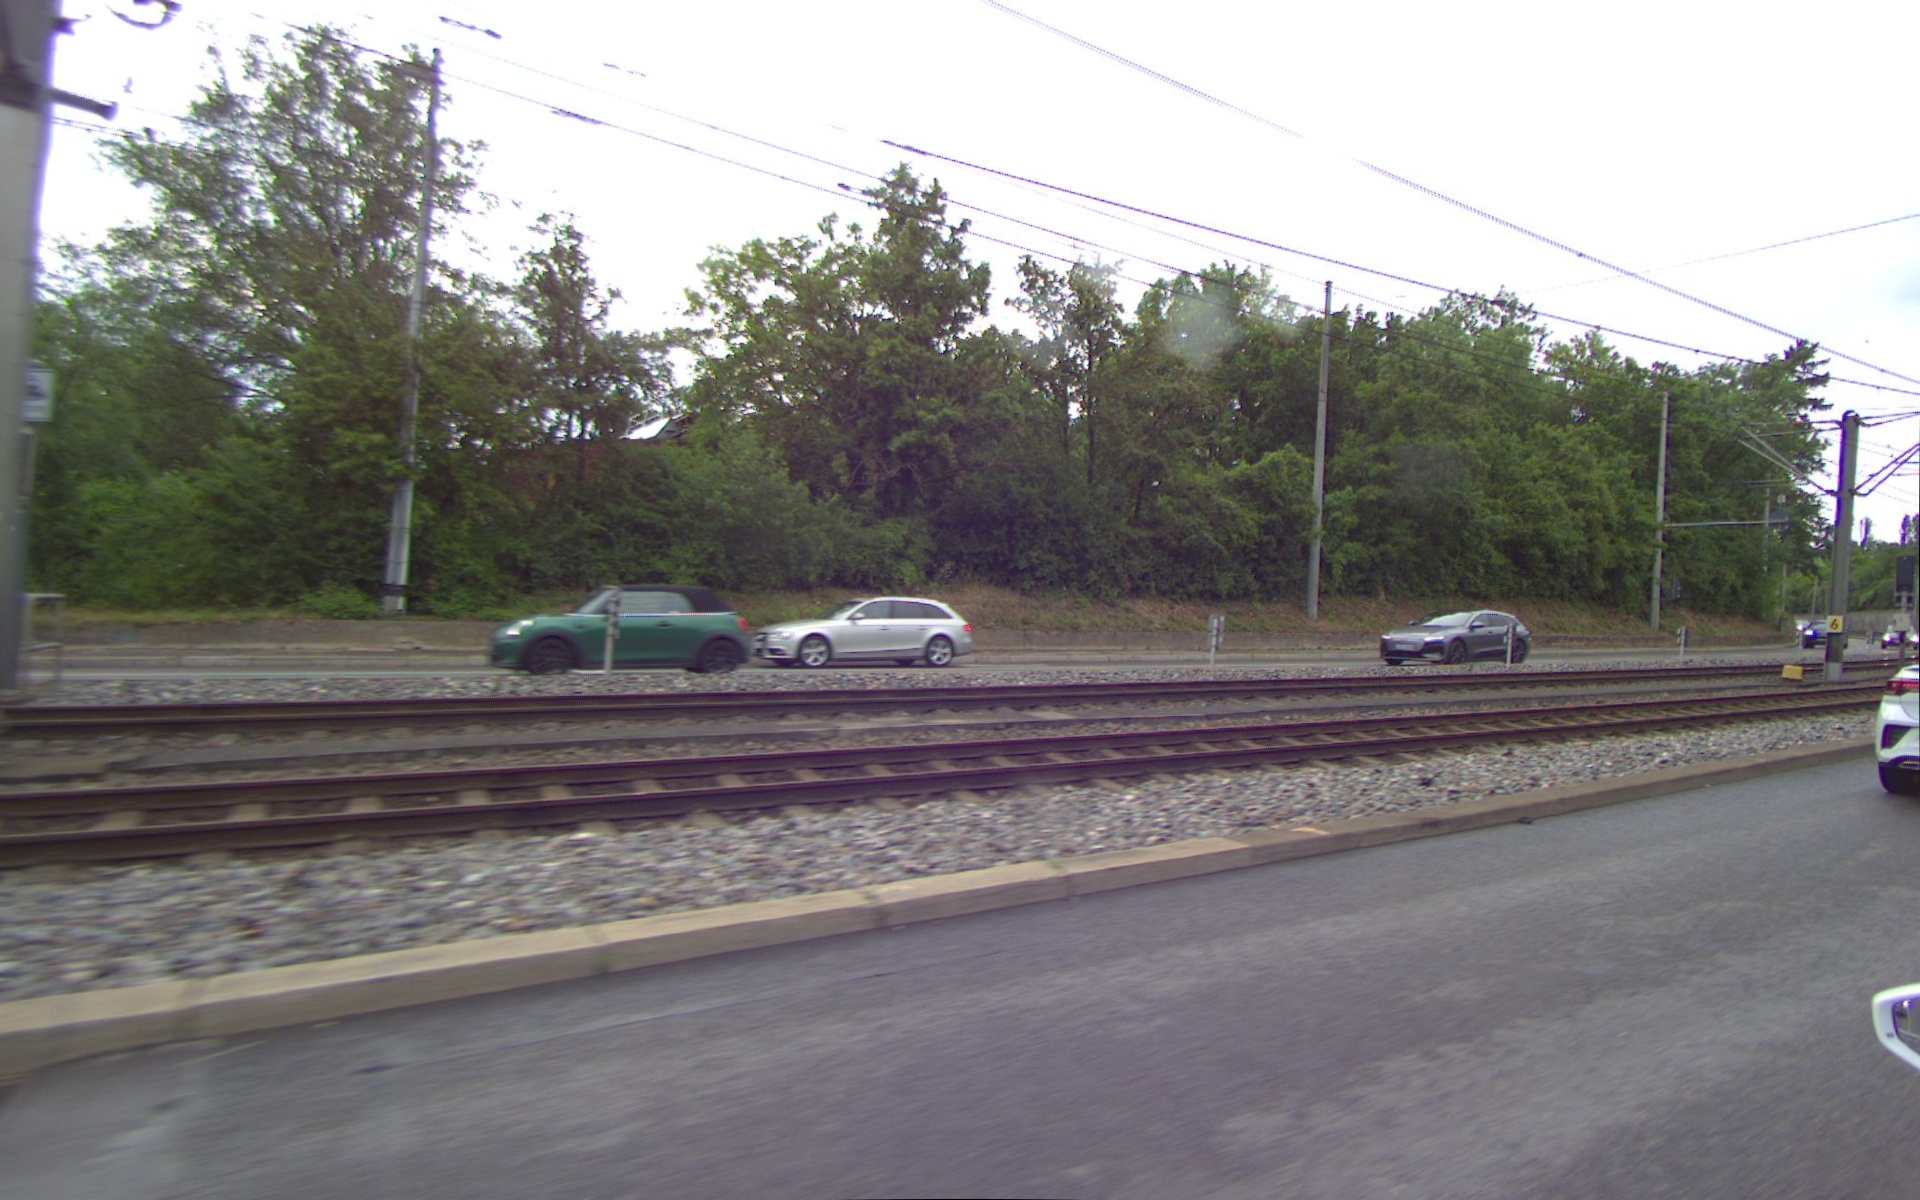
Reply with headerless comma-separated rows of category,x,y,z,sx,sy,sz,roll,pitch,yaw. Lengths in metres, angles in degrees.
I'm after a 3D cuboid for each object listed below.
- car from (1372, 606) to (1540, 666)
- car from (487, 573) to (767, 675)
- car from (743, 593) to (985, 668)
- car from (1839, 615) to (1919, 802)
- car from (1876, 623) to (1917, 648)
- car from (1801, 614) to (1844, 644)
car,13.165,0.934,26.558,4.804,1.457,1.850,1,-2,-34
car,-5.111,0.424,15.526,3.848,1.402,1.625,2,-2,-30
car,-1.925,0.637,20.702,4.652,1.398,1.810,2,-1,-32
car,10.090,0.954,9.199,4.489,1.544,1.861,1,-1,-32
car,57.868,2.163,62.046,1.688,1.434,4.007,2,0,44
car,52.655,1.762,61.375,1.762,1.692,4.719,1,0,38
